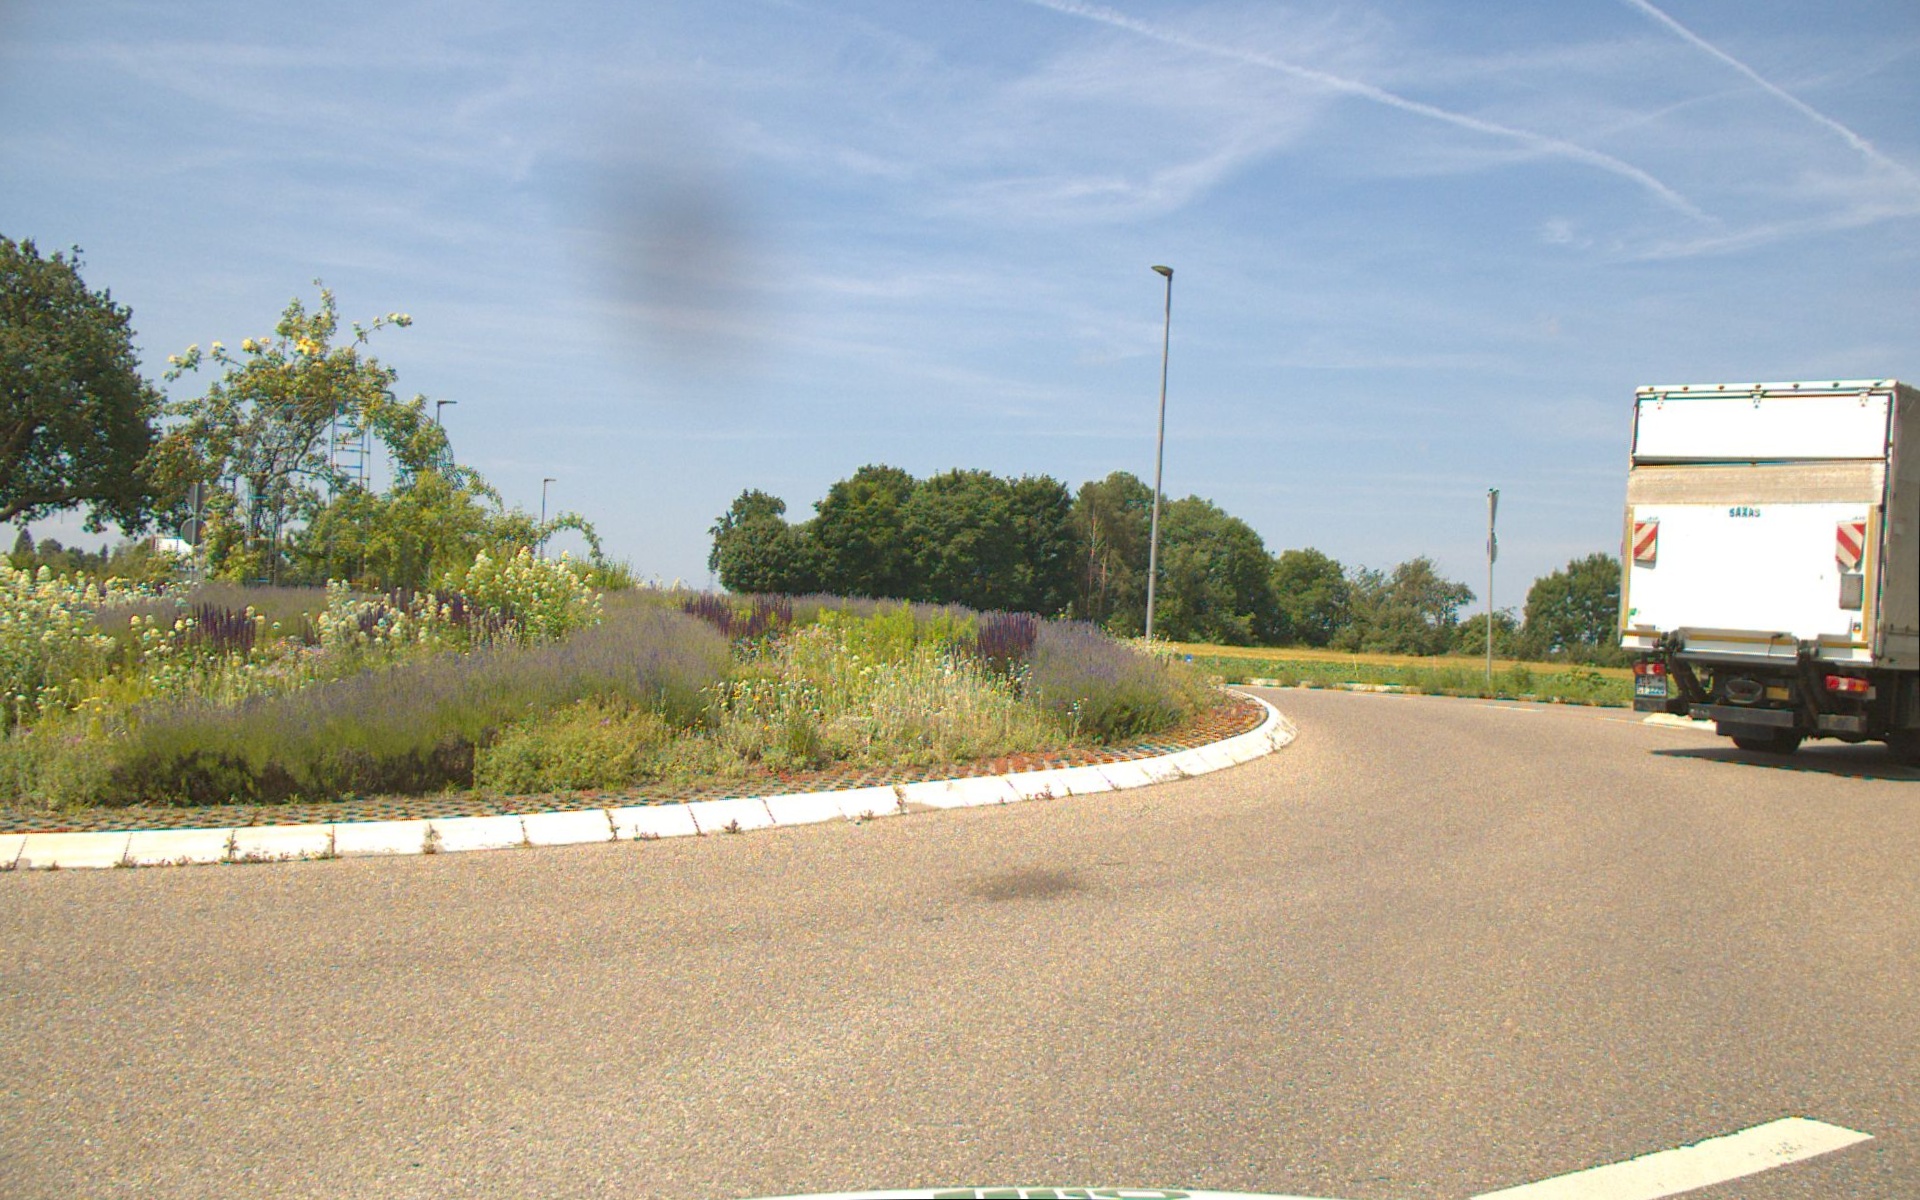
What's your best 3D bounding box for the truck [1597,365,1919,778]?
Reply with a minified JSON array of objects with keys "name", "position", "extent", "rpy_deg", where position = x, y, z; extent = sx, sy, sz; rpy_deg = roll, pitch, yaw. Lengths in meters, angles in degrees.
[{"name":"truck","position":[10.985,-0.178,19.050],"extent":[9.299,3.734,2.735],"rpy_deg":[2,1,-42]}]
